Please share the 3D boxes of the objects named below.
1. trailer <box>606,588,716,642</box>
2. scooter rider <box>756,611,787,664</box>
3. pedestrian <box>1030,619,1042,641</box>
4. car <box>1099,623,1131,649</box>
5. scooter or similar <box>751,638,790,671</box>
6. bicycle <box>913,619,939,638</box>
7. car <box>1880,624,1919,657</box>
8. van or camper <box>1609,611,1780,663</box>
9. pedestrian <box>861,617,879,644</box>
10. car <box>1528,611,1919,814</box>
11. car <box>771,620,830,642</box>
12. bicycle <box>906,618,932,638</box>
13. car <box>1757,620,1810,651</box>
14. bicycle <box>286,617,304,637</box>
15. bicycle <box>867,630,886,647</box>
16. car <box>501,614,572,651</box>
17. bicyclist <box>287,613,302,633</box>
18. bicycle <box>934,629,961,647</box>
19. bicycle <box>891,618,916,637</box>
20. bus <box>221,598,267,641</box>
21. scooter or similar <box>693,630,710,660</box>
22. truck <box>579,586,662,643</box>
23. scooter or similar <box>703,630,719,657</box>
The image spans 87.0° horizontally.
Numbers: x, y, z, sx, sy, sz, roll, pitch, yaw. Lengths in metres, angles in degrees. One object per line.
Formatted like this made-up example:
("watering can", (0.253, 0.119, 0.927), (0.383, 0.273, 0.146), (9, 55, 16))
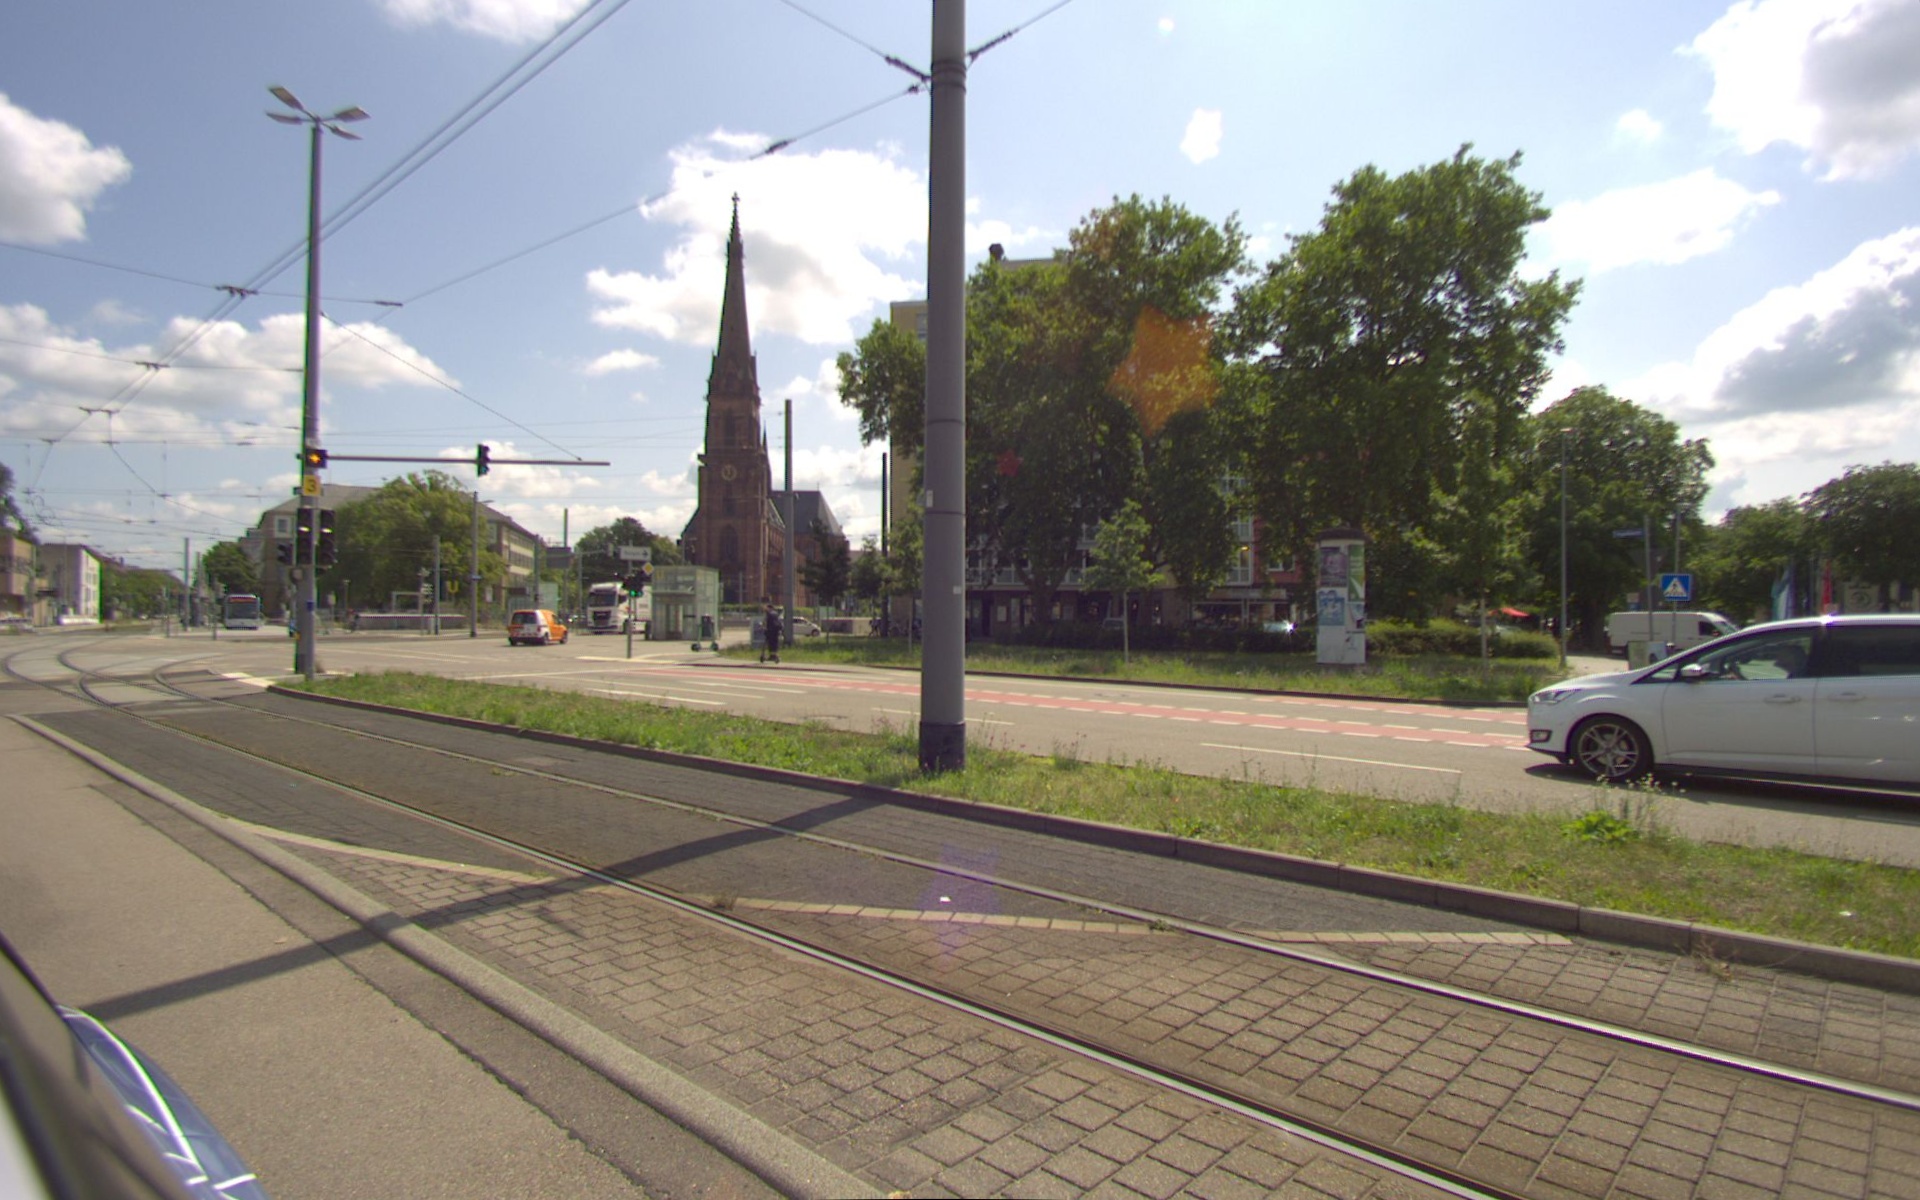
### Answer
("trailer", (-24.248, 1.278, 83.123), (2.917, 4.107, 13.373), (0, -1, 11))
("scooter rider", (-6.289, 1.244, 33.804), (0.649, 1.720, 0.769), (-1, -2, 42))
("pedestrian", (4.749, 1.869, 63.452), (0.751, 1.336, 0.561), (-1, -1, 7))
("car", (9.470, 2.156, 61.765), (1.858, 1.522, 3.920), (-1, -2, 9))
("scooter or similar", (-6.336, 1.807, 33.836), (1.092, 1.040, 0.795), (-1, -2, 42))
("bicycle", (-2.188, 1.834, 64.852), (1.585, 1.176, 0.491), (-1, -1, 11))
("car", (48.418, 2.040, 51.461), (3.938, 1.630, 2.003), (1, -1, -42))
("van or camper", (37.996, 1.867, 52.602), (2.536, 2.518, 6.700), (1, -1, -33))
("pedestrian", (-5.298, 1.793, 59.559), (0.873, 1.572, 0.719), (-1, -2, 19))
("car", (7.872, 0.913, 9.106), (1.745, 1.616, 4.497), (1, -1, -43))
("car", (-12.070, 2.329, 76.538), (4.101, 1.655, 1.634), (1, -2, -30))
("bicycle", (-2.679, 1.803, 65.916), (1.585, 1.274, 0.491), (-1, -1, 11))
("car", (47.110, 1.992, 57.851), (2.001, 1.697, 3.942), (-1, -2, 44))
("bicycle", (-68.542, 2.750, 104.305), (1.228, 2.029, 3.491), (1, -2, -39))
("bicycle", (-5.711, 2.632, 69.097), (1.258, 1.154, 0.458), (-1, -2, 7))
("car", (-21.485, 1.628, 51.542), (1.747, 1.779, 4.239), (0, -1, 1))
("bicyclist", (-68.539, 2.386, 104.272), (1.108, 2.029, 1.322), (3, -2, -39))
("bicycle", (-0.764, 2.307, 61.360), (1.585, 1.074, 0.491), (-1, -1, 11))
("bicycle", (-3.818, 1.892, 68.611), (1.585, 1.274, 0.491), (-1, -1, 11))
("bus", (-60.715, 1.649, 85.698), (2.904, 3.474, 7.964), (1, -2, -37))
("scooter or similar", (-10.726, 1.853, 41.957), (0.549, 1.209, 0.456), (-1, -2, 41))
("truck", (-25.498, 1.111, 76.388), (2.932, 4.150, 6.854), (0, -1, 11))
("scooter or similar", (-10.460, 1.821, 42.554), (0.556, 1.133, 0.411), (-1, -2, 41))
